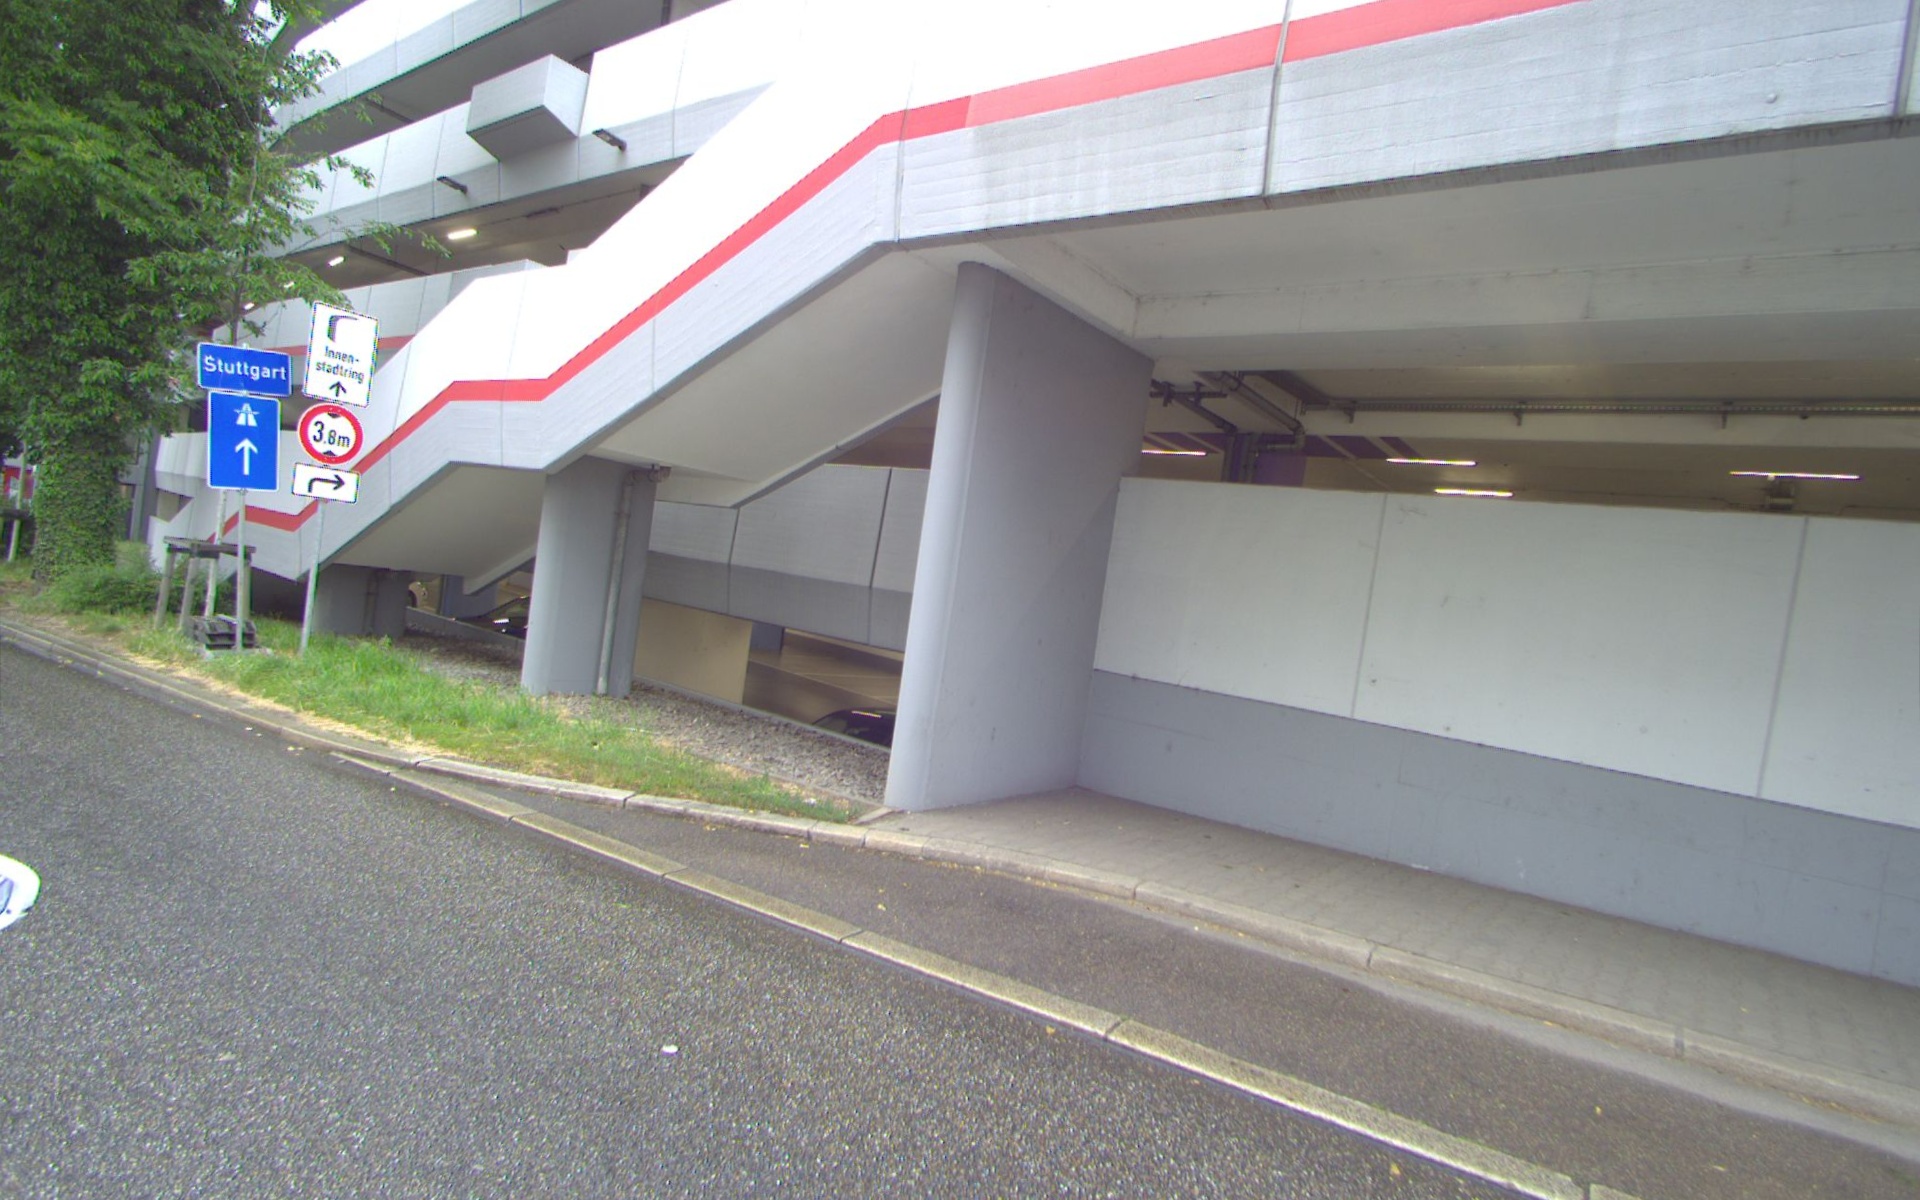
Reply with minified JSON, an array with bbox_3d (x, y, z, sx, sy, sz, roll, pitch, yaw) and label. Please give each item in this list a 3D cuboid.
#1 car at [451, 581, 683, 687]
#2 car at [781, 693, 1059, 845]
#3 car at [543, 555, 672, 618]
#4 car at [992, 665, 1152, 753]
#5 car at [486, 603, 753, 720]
[{"bbox_3d":[-7.628,0.723,19.801,1.782,1.559,3.734,11,2,37],"label":"car"},{"bbox_3d":[-0.446,2.351,14.704,1.810,1.559,3.931,11,2,37],"label":"car"},{"bbox_3d":[-13.011,-0.467,37.262,1.792,1.804,3.979,7,0,44],"label":"car"},{"bbox_3d":[2.724,2.569,23.726,1.810,1.559,3.988,11,2,37],"label":"car"},{"bbox_3d":[-5.824,1.130,17.619,1.810,1.643,3.988,7,-1,36],"label":"car"}]
